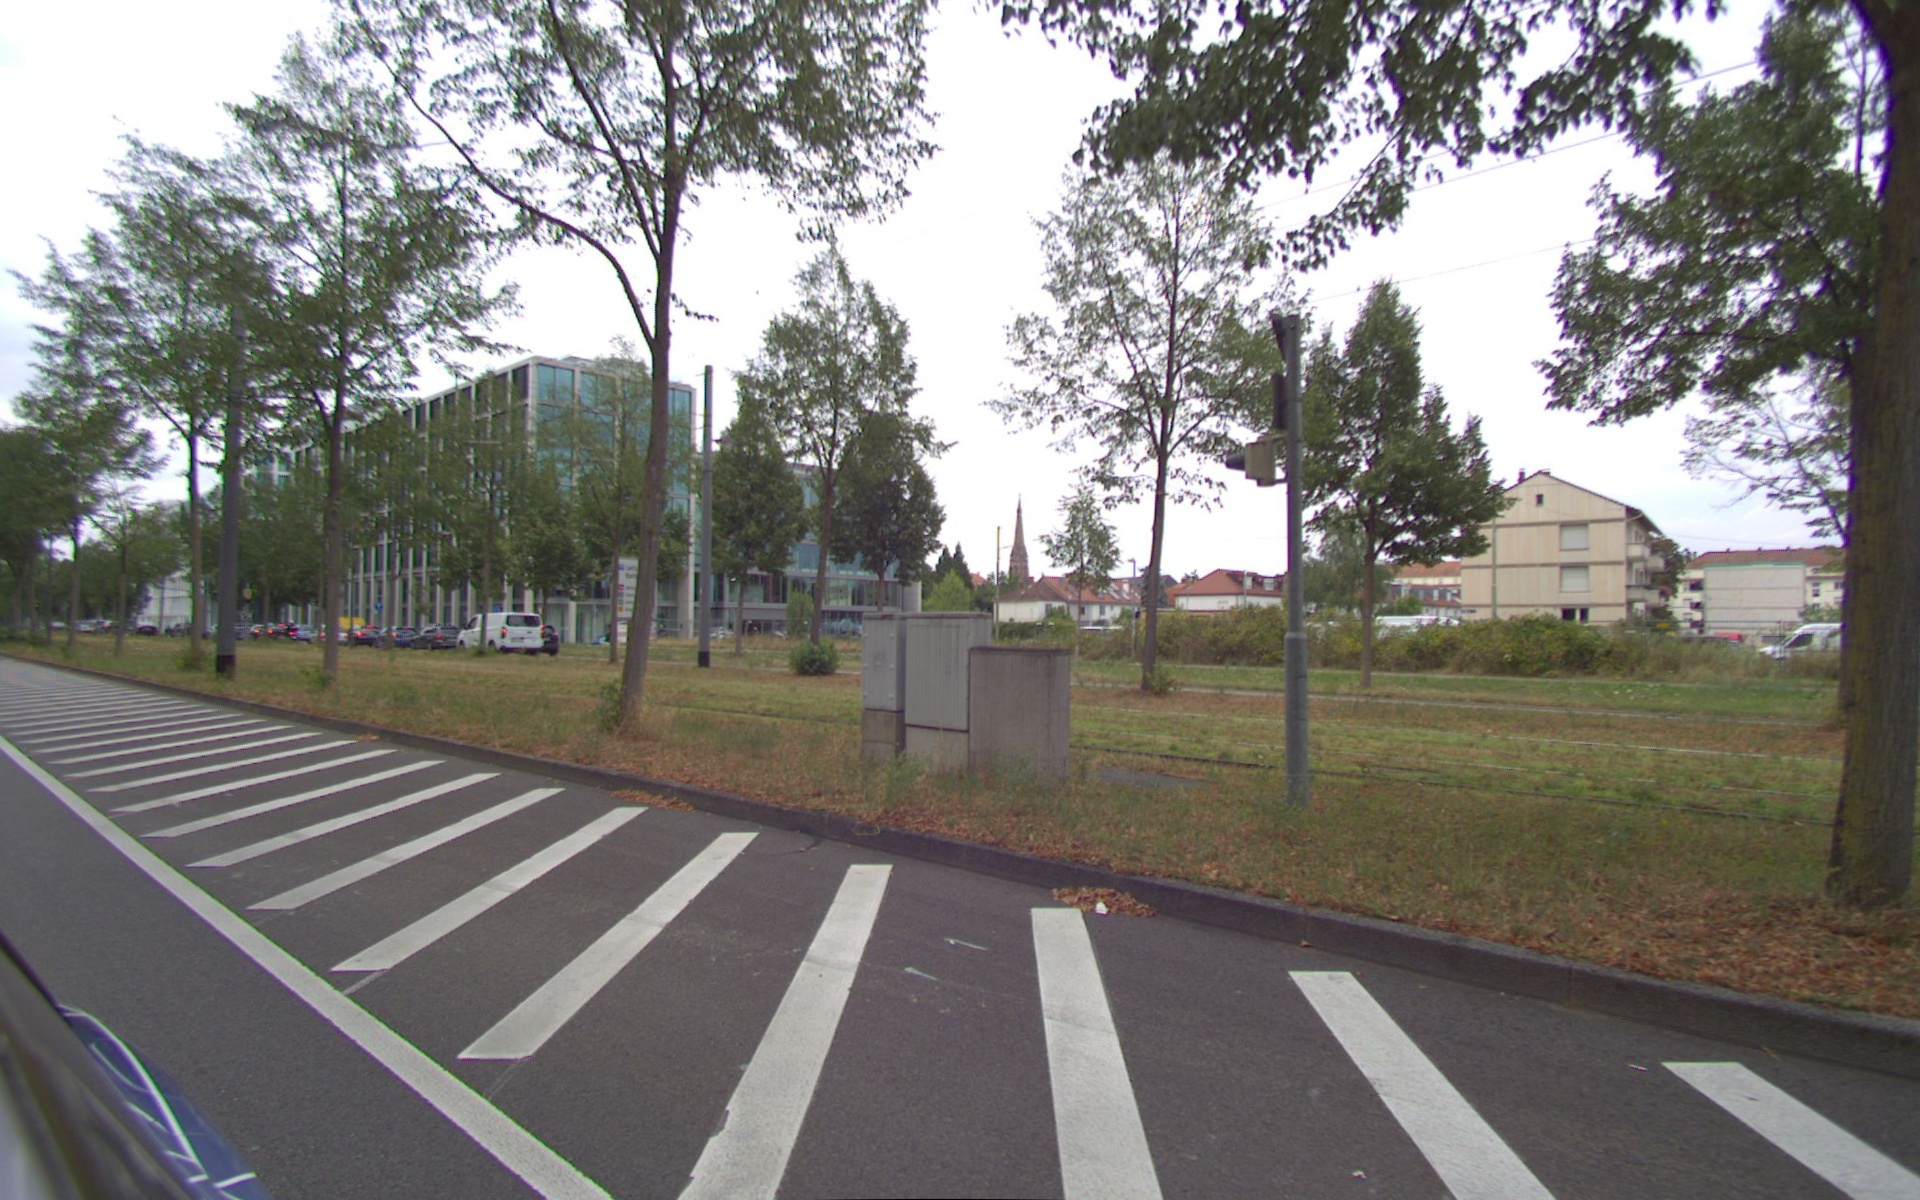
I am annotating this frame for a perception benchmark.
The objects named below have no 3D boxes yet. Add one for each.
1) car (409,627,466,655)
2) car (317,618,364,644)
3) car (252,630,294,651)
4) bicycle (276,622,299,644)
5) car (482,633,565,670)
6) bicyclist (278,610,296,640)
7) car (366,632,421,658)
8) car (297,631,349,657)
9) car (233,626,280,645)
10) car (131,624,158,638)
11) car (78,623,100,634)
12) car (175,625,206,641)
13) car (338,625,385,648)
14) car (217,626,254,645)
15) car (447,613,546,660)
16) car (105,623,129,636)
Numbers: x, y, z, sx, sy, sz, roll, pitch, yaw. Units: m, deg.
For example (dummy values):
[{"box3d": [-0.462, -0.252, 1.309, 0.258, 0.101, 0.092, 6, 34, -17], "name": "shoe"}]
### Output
[{"box3d": [-29.590, 2.310, 57.250, 1.728, 1.541, 4.283, 2, -2, -44], "name": "car"}, {"box3d": [-44.500, 2.207, 72.671, 1.929, 1.785, 4.447, 2, -3, -44], "name": "car"}, {"box3d": [-49.646, 2.894, 73.082, 3.866, 1.468, 1.729, -1, -2, 44], "name": "car"}, {"box3d": [-46.549, 2.279, 70.049, 2.356, 1.499, 0.702, -2, -1, 41], "name": "bicycle"}, {"box3d": [-21.262, 2.477, 49.234, 4.688, 1.669, 1.809, -1, -2, 40], "name": "car"}, {"box3d": [-46.595, 1.741, 70.090, 0.994, 2.029, 0.733, -1, 0, 39], "name": "bicyclist"}, {"box3d": [-34.469, 2.725, 61.542, 3.864, 1.508, 1.730, -1, -2, 42], "name": "car"}, {"box3d": [-39.224, 2.692, 62.305, 3.864, 1.508, 1.730, -1, -2, 42], "name": "car"}, {"box3d": [-53.197, 2.656, 76.526, 3.998, 1.429, 1.973, -1, -2, 41], "name": "car"}, {"box3d": [-88.180, 3.339, 109.459, 3.865, 1.468, 1.729, -1, -2, 43], "name": "car"}, {"box3d": [-113.344, 3.721, 131.712, 3.865, 1.468, 1.729, -1, -2, 43], "name": "car"}, {"box3d": [-73.116, 3.117, 96.124, 3.865, 1.468, 1.729, -1, -2, 43], "name": "car"}, {"box3d": [-39.717, 2.412, 67.139, 3.866, 1.468, 1.729, -1, -1, 44], "name": "car"}, {"box3d": [-59.128, 2.884, 82.590, 3.865, 1.468, 1.729, -1, -2, 43], "name": "car"}, {"box3d": [-20.416, 1.600, 44.508, 5.093, 1.959, 1.973, -1, -2, 41], "name": "car"}, {"box3d": [-101.927, 3.562, 122.346, 3.865, 1.468, 1.729, -1, -2, 43], "name": "car"}]
